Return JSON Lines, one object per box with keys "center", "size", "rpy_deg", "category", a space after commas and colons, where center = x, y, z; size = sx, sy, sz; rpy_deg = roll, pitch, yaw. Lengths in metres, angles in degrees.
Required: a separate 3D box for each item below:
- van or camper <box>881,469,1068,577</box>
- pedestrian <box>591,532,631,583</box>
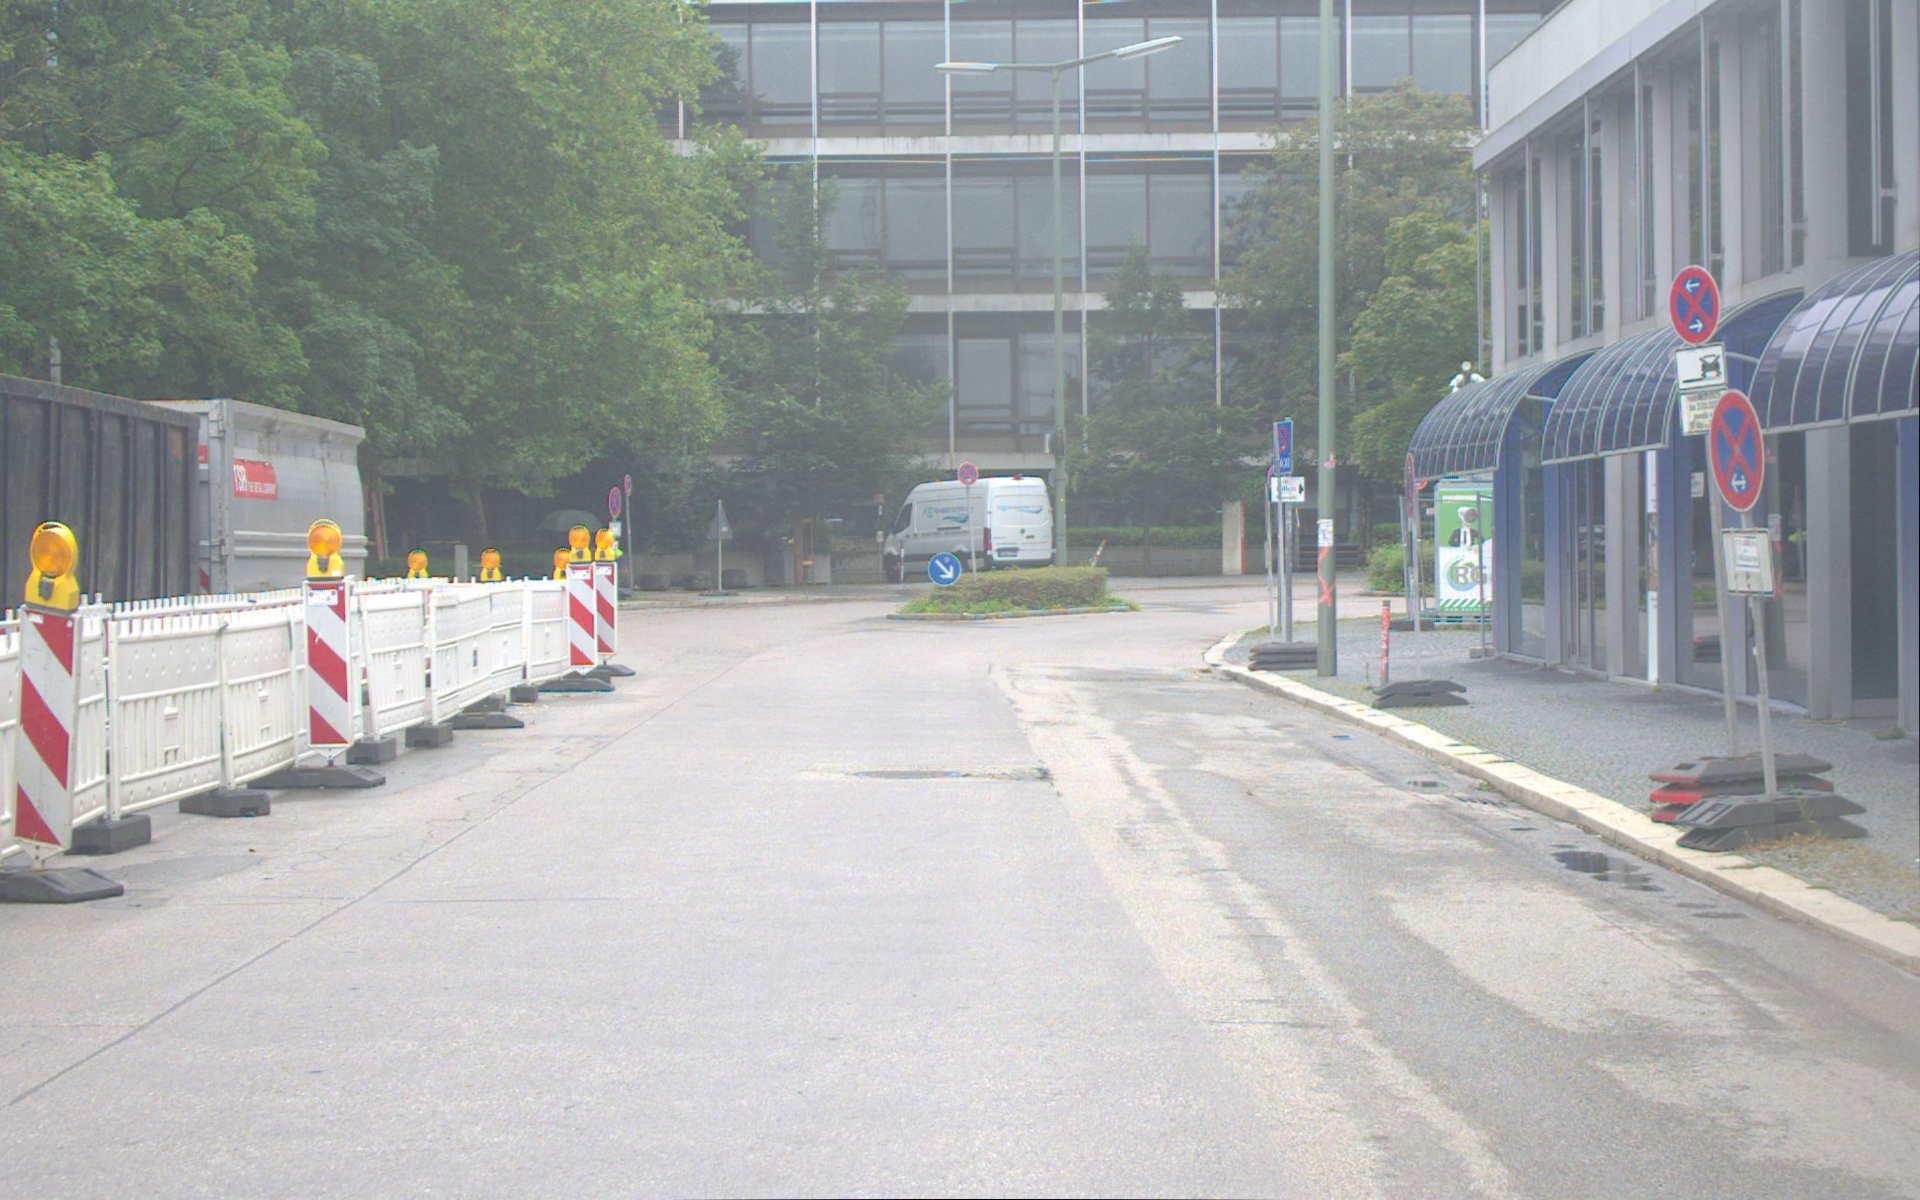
{"center": [0.304, -1.950, 88.565], "size": [2.155, 2.572, 6.540], "rpy_deg": [-1, 0, -26], "category": "van or camper"}
{"center": [-8.776, -1.061, 86.479], "size": [0.926, 1.273, 0.542], "rpy_deg": [0, 1, 2], "category": "pedestrian"}
